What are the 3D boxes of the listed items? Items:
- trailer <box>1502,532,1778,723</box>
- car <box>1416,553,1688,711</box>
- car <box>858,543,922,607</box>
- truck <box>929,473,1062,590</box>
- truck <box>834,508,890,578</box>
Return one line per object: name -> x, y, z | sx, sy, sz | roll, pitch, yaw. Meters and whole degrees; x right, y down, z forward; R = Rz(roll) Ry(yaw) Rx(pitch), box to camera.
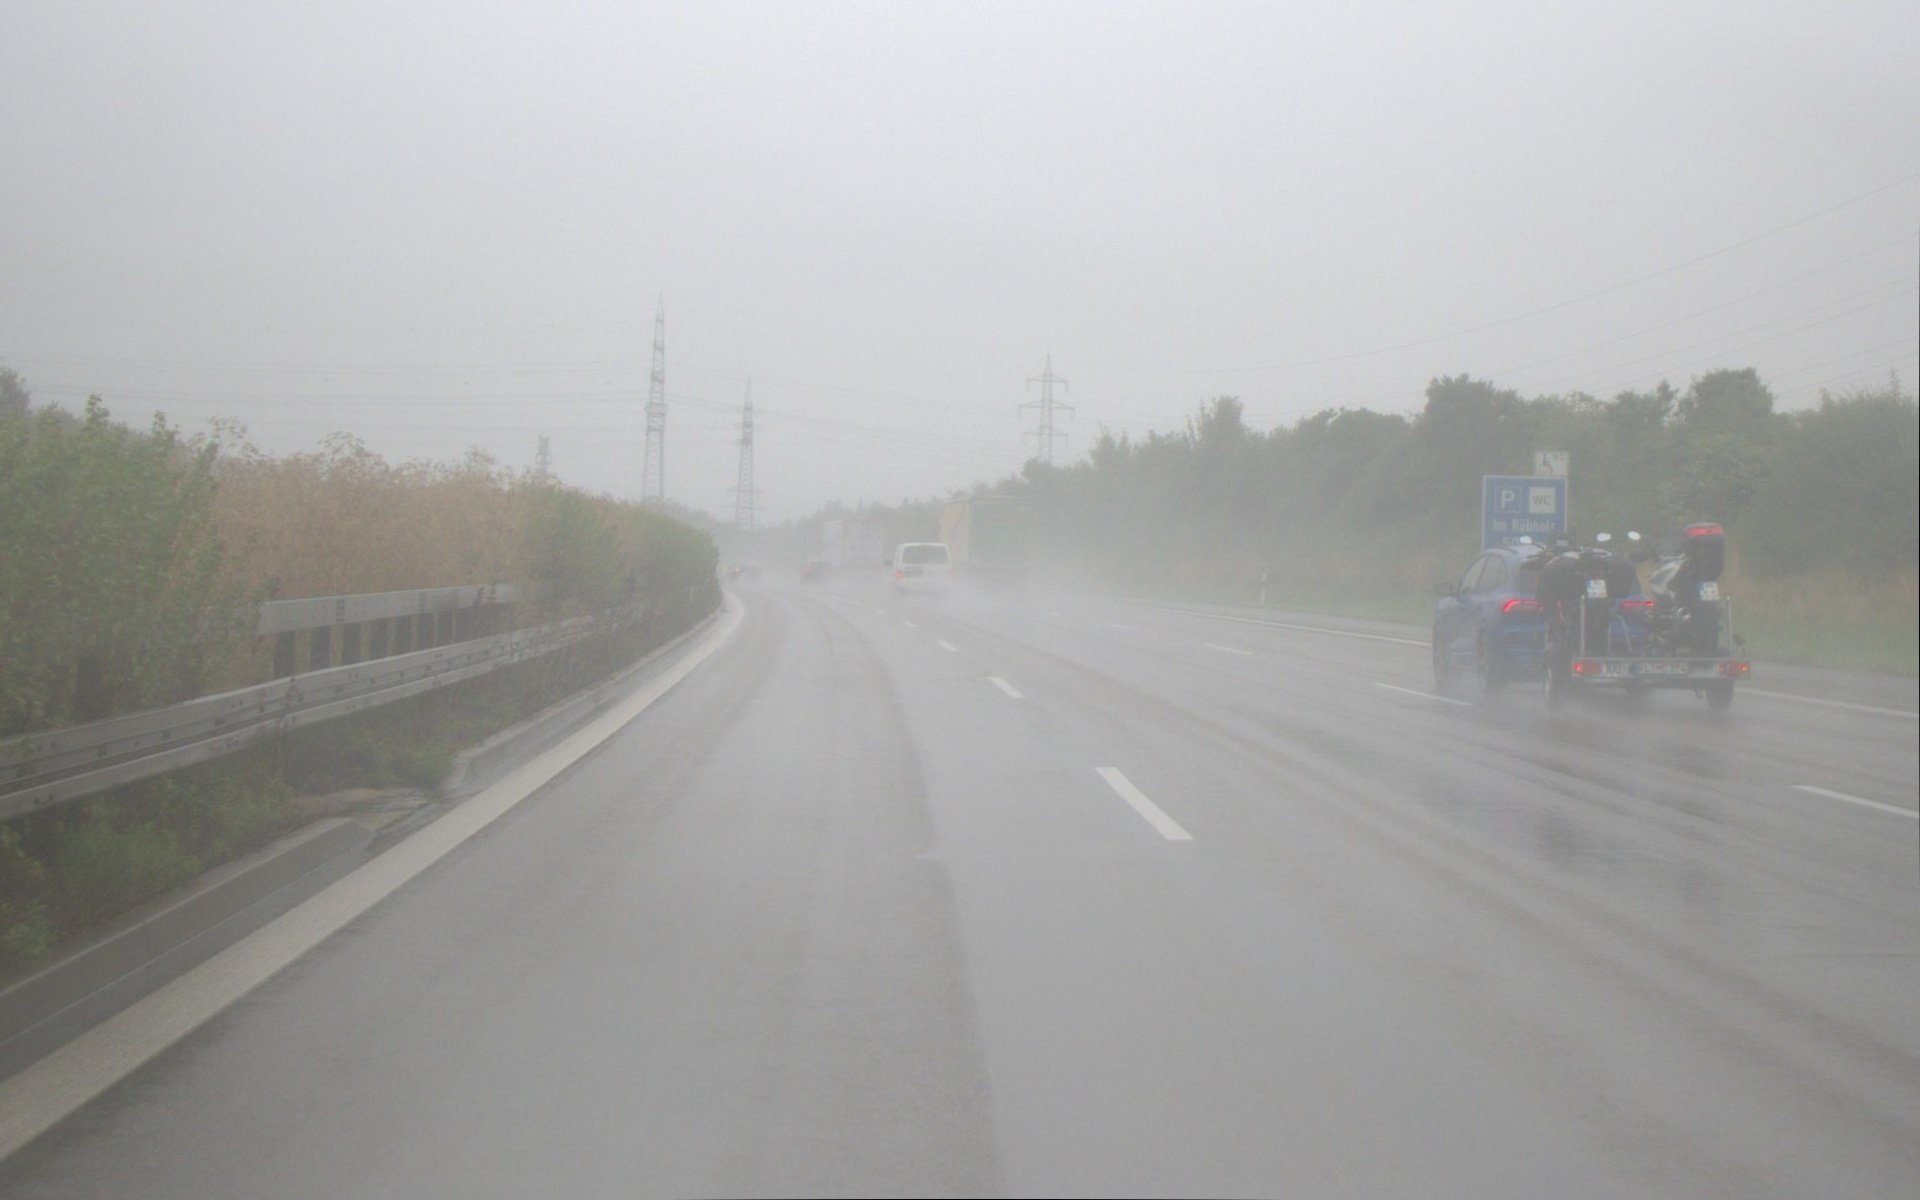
trailer -> 6.640, 0.257, 33.899 | 1.979, 1.779, 3.189 | 0, 0, -2
car -> 6.443, 0.328, 37.980 | 1.993, 1.613, 4.993 | 0, 0, -2
car -> -2.251, -0.815, 110.126 | 1.993, 2.007, 4.000 | 0, 1, -1
truck -> 1.340, -2.747, 144.723 | 4.188, 4.614, 16.107 | 0, 0, -4
truck -> -6.193, -3.545, 215.619 | 3.232, 4.297, 8.838 | 0, 1, -3
